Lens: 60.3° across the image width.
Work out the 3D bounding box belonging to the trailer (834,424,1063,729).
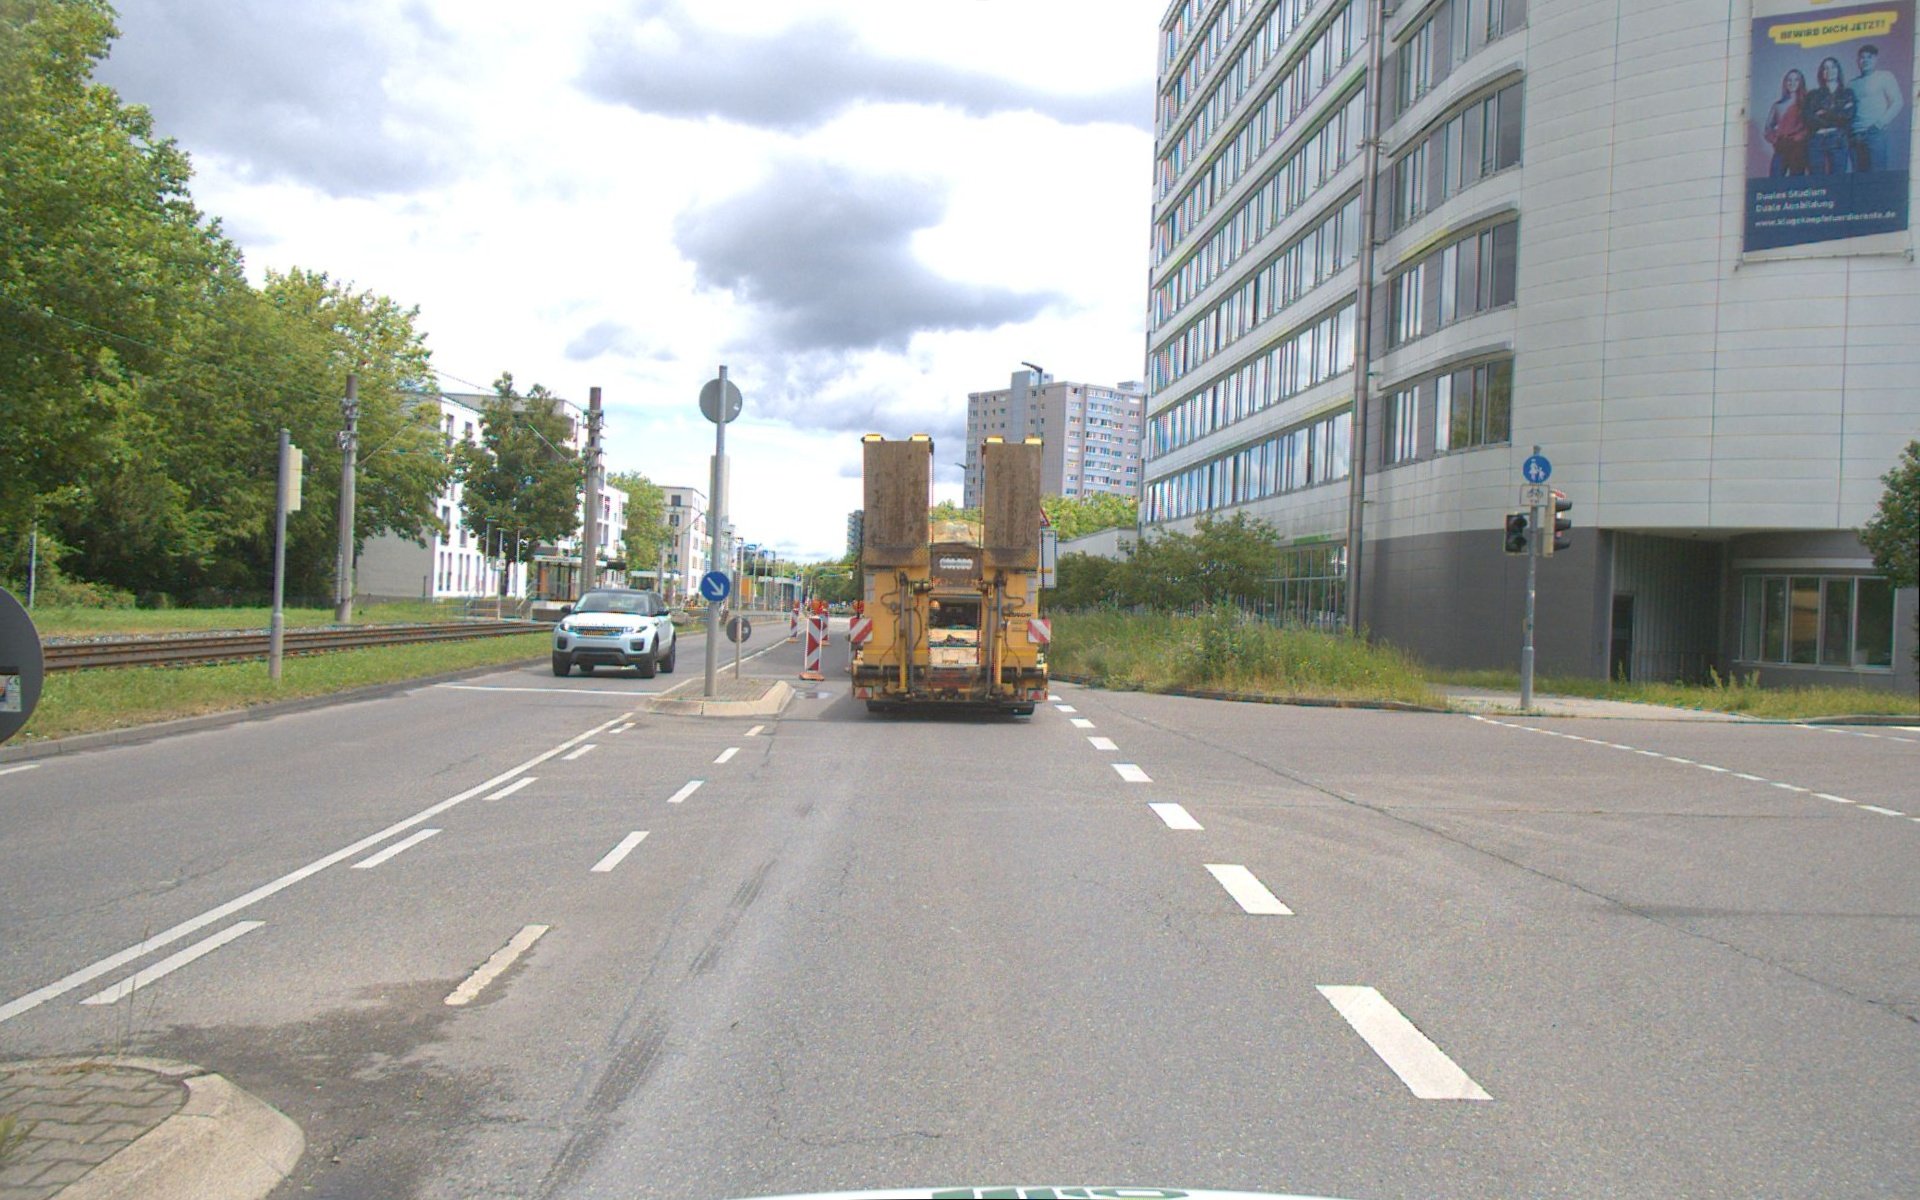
[{"bbox_3d":[-0.437,-0.236,25.878,2.675,3.621,11.246,2,-1,-3],"label":"trailer"}]

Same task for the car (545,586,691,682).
[{"bbox_3d":[-6.494,0.637,31.894,1.822,1.638,4.606,2,-1,-1],"label":"car"}]

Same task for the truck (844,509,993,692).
[{"bbox_3d":[-0.984,0.060,35.689,2.698,3.371,8.346,2,-1,-3],"label":"truck"}]

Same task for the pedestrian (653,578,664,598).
[{"bbox_3d":[-24.769,-1.003,136.031,0.478,1.624,0.676,2,-1,32],"label":"pedestrian"}]
